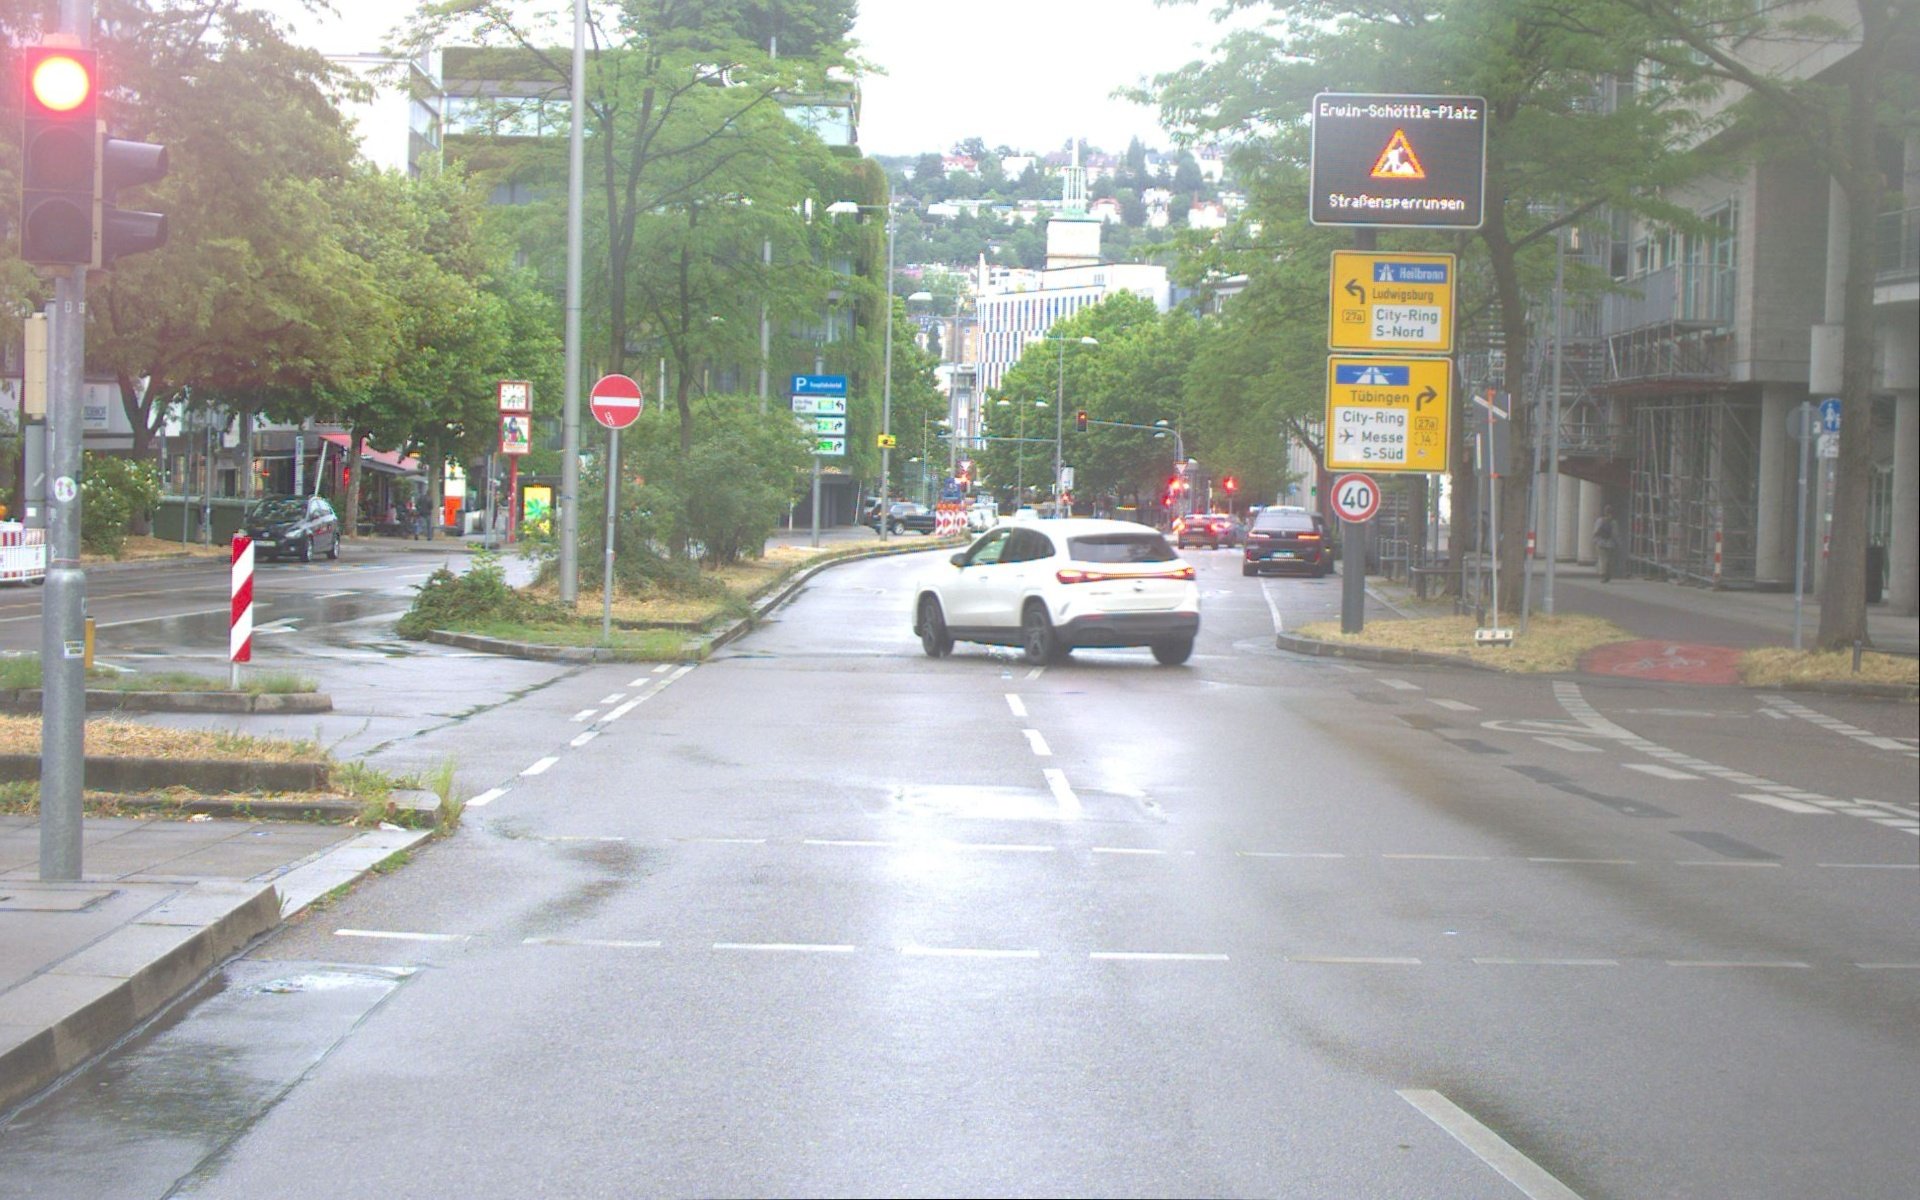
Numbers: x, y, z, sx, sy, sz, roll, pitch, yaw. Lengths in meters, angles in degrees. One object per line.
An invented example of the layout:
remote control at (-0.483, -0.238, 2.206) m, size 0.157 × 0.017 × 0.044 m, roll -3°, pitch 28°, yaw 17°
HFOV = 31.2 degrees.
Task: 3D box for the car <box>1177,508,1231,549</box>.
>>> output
car at (10.780, -3.144, 152.022) m, size 1.993 × 1.718 × 4.000 m, roll 1°, pitch 0°, yaw -1°

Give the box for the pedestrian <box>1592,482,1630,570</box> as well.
pedestrian at (14.331, -1.621, 75.659) m, size 0.775 × 1.914 × 0.702 m, roll 1°, pitch 0°, yaw 10°

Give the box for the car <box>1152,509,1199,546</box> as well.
car at (10.440, -3.523, 166.802) m, size 1.993 × 1.730 × 4.000 m, roll 1°, pitch 0°, yaw -1°

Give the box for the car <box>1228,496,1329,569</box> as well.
car at (7.749, -1.648, 83.426) m, size 2.339 × 1.685 × 3.999 m, roll 1°, pitch 2°, yaw 6°

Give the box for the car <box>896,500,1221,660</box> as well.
car at (1.040, -0.259, 38.895) m, size 1.828 × 1.634 × 4.301 m, roll 2°, pitch 1°, yaw -26°
